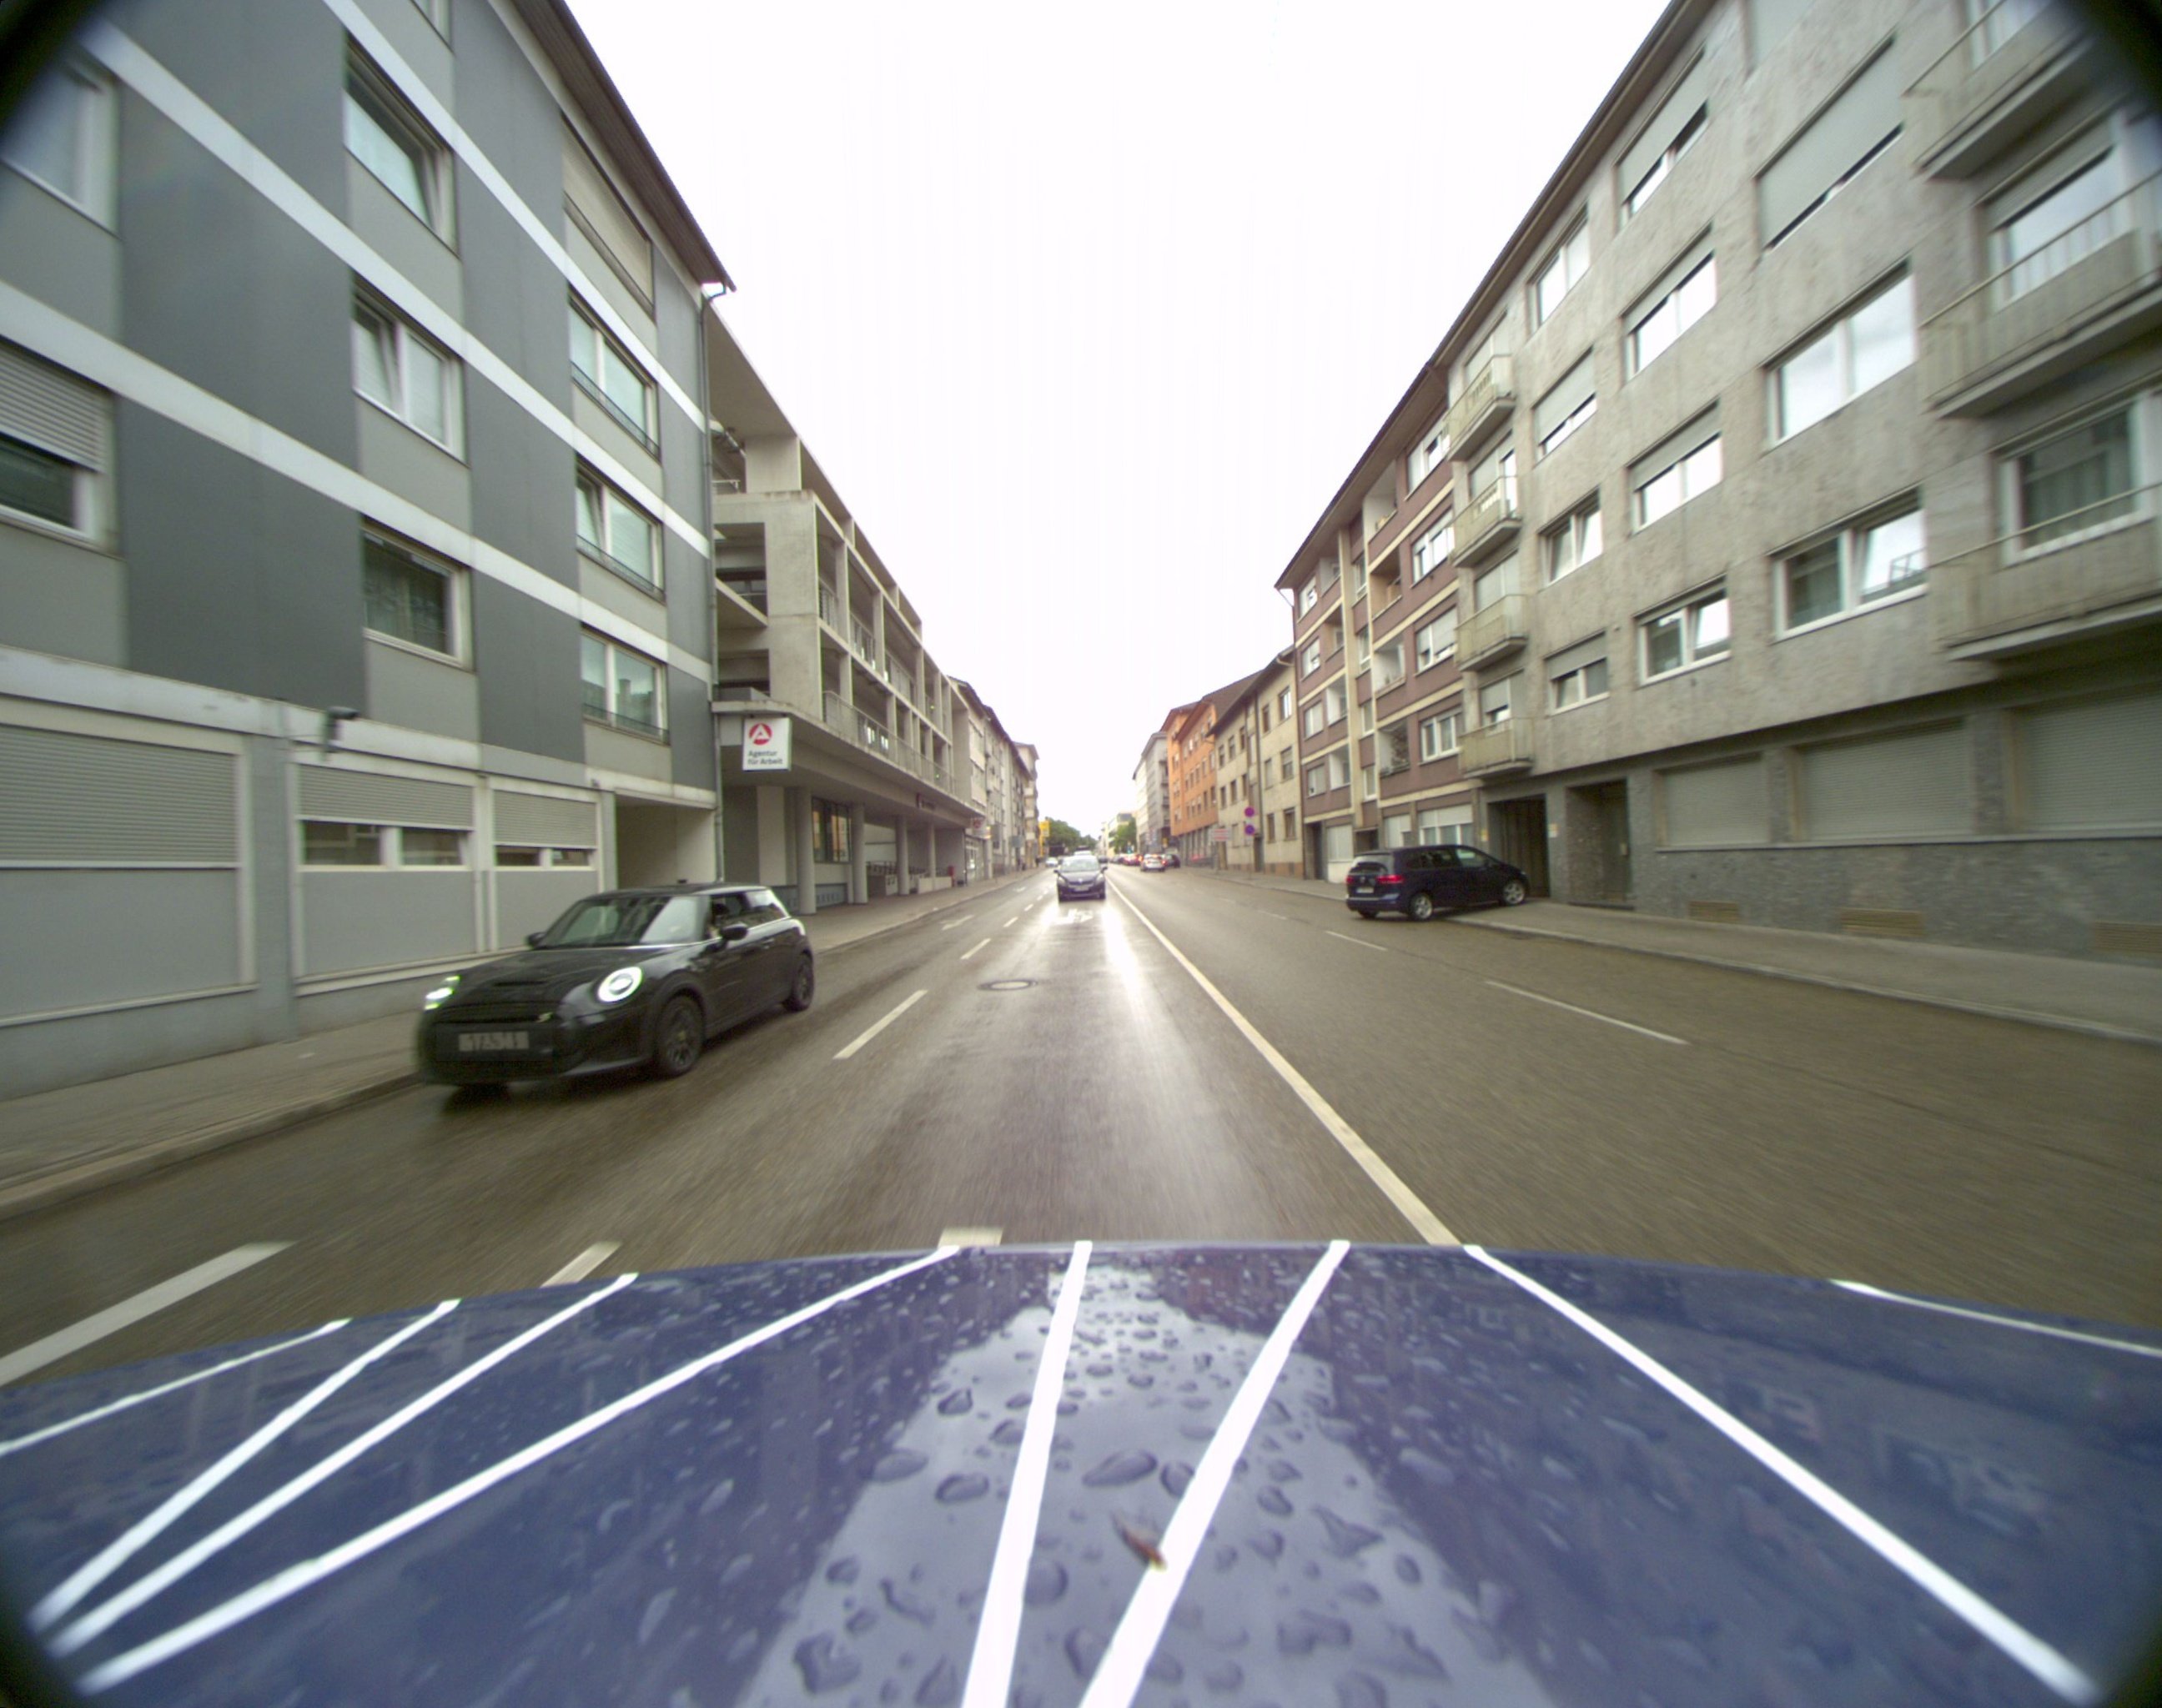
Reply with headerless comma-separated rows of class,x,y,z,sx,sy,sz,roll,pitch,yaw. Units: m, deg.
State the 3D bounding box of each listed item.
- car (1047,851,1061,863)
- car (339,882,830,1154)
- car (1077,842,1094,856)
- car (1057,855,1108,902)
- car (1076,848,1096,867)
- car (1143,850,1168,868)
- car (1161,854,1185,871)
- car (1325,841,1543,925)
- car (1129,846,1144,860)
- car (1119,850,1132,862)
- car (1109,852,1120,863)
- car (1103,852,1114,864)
car,-4.180,0.433,117.567,1.721,1.652,3.679,-3,1,2
car,-3.822,1.118,6.870,1.664,1.412,4.071,-5,1,0
car,0.572,-0.647,95.565,1.851,1.652,3.679,-3,1,2
car,0.049,0.885,29.239,1.732,1.472,4.071,-5,1,0
car,0.507,0.339,73.999,1.721,1.652,3.679,-3,1,2
car,6.285,0.394,64.491,1.732,1.452,4.071,0,1,0
car,9.036,0.825,74.839,1.708,1.447,3.804,-3,1,-2
car,8.049,0.608,17.406,4.312,1.566,1.997,-3,1,-19
car,7.018,-0.108,96.325,1.721,1.652,3.679,-3,1,2
car,6.403,0.248,109.389,1.721,1.652,3.679,-3,1,2
car,5.487,0.539,125.172,1.721,1.652,3.679,-3,1,2
car,4.376,0.596,120.844,1.721,1.652,3.679,-3,1,2
